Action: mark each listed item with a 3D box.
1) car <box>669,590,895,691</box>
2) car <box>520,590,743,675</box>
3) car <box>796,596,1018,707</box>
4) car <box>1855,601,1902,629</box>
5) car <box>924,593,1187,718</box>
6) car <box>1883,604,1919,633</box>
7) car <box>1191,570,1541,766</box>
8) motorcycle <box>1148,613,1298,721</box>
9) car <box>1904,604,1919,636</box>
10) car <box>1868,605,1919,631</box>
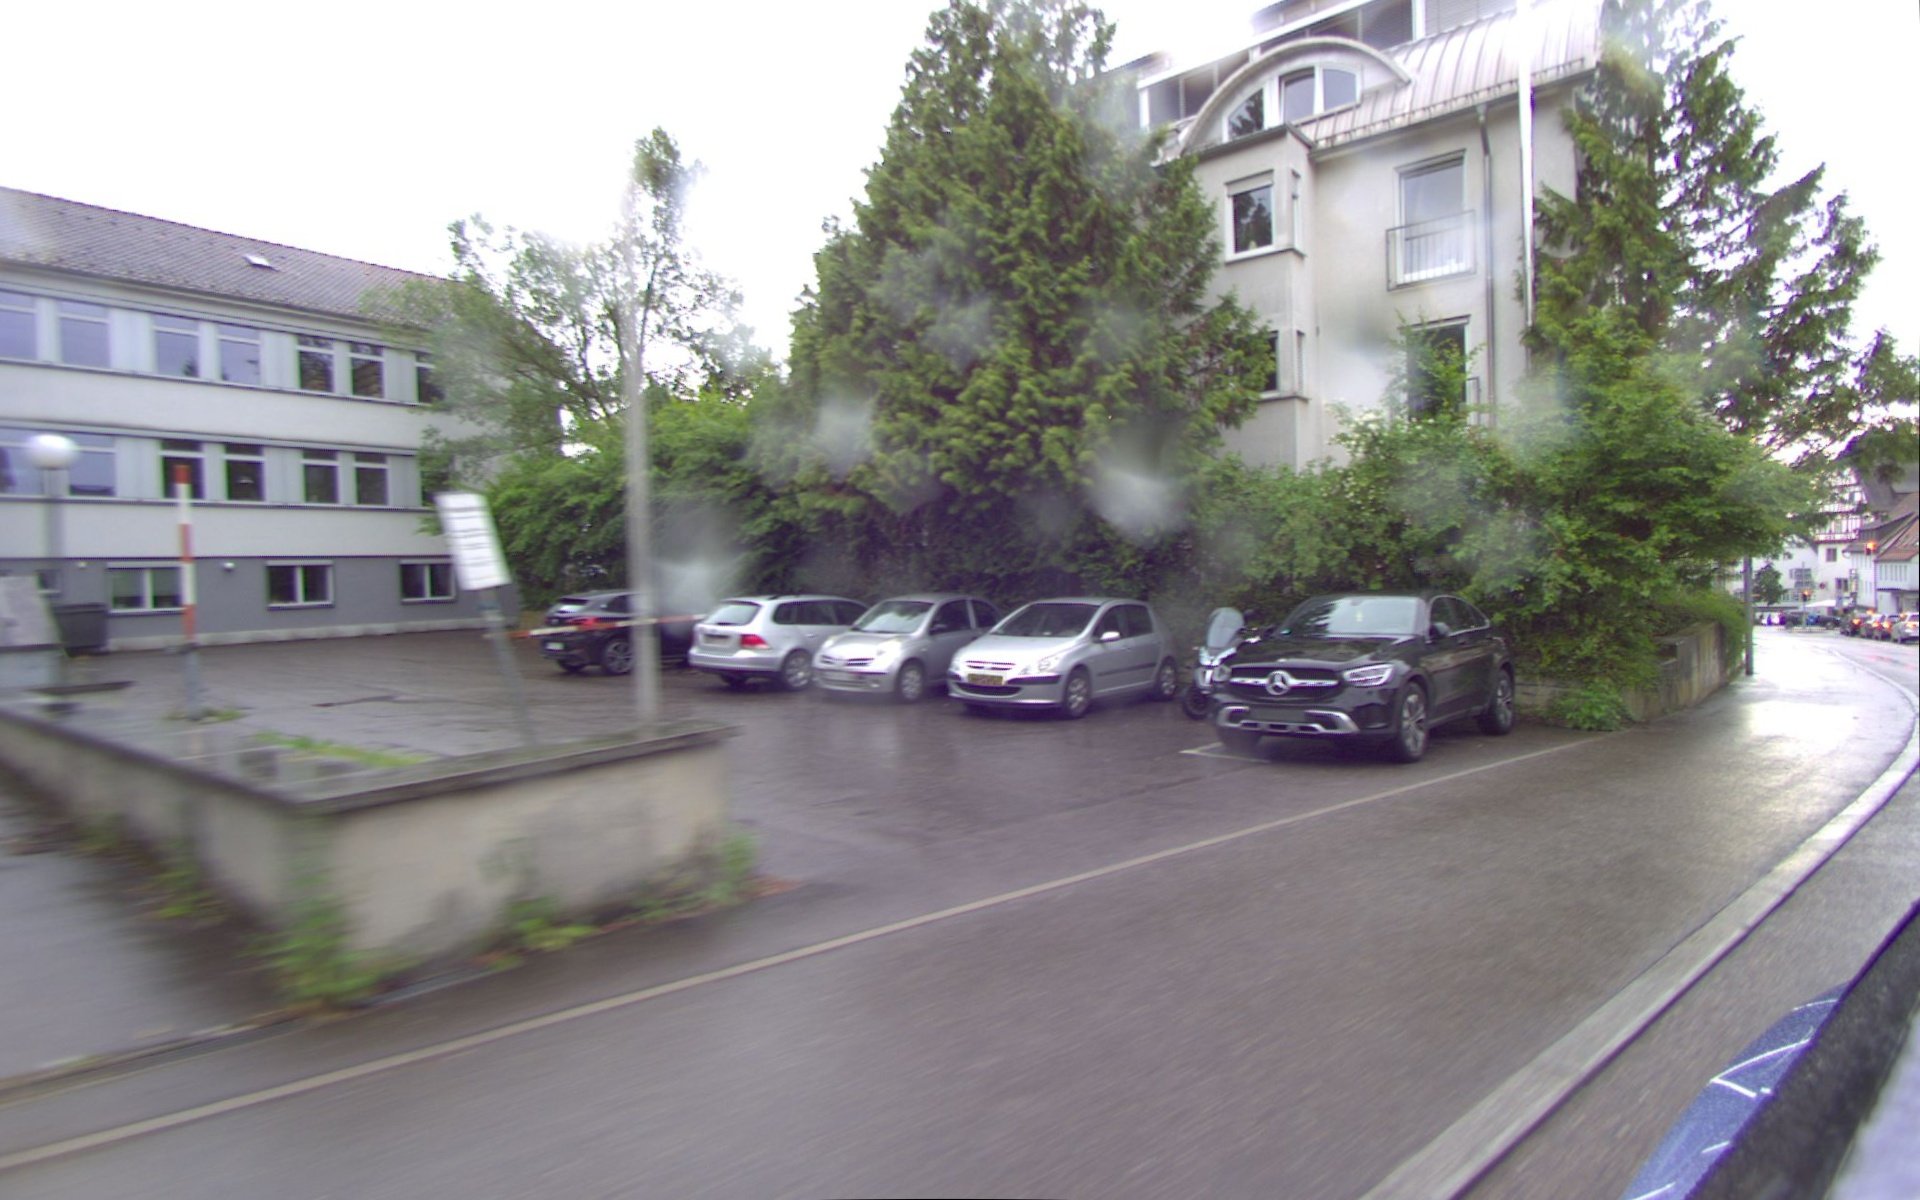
[{"bbox_3d":[-2.827,0.587,16.484,1.757,1.453,3.270,0,0,42],"label":"car"},{"bbox_3d":[-6.176,0.556,19.298,1.757,1.453,3.663,0,0,41],"label":"car"},{"bbox_3d":[-0.712,0.687,15.238,1.604,1.453,3.274,0,0,38],"label":"car"},{"bbox_3d":[58.216,0.941,64.198,1.844,1.685,4.160,-2,-1,38],"label":"car"},{"bbox_3d":[1.444,0.646,13.852,1.735,1.453,3.969,0,0,38],"label":"car"},{"bbox_3d":[50.417,0.966,53.657,1.795,1.458,4.624,-2,-1,38],"label":"car"},{"bbox_3d":[4.412,0.584,10.547,1.779,1.590,4.654,-4,-3,43],"label":"car"},{"bbox_3d":[3.330,0.768,12.620,0.850,1.192,2.457,-1,0,40],"label":"motorcycle"},{"bbox_3d":[45.546,0.904,47.253,1.796,1.458,4.621,-2,-1,40],"label":"car"},{"bbox_3d":[53.985,1.018,58.398,1.936,1.459,4.947,-2,-1,37],"label":"car"}]
